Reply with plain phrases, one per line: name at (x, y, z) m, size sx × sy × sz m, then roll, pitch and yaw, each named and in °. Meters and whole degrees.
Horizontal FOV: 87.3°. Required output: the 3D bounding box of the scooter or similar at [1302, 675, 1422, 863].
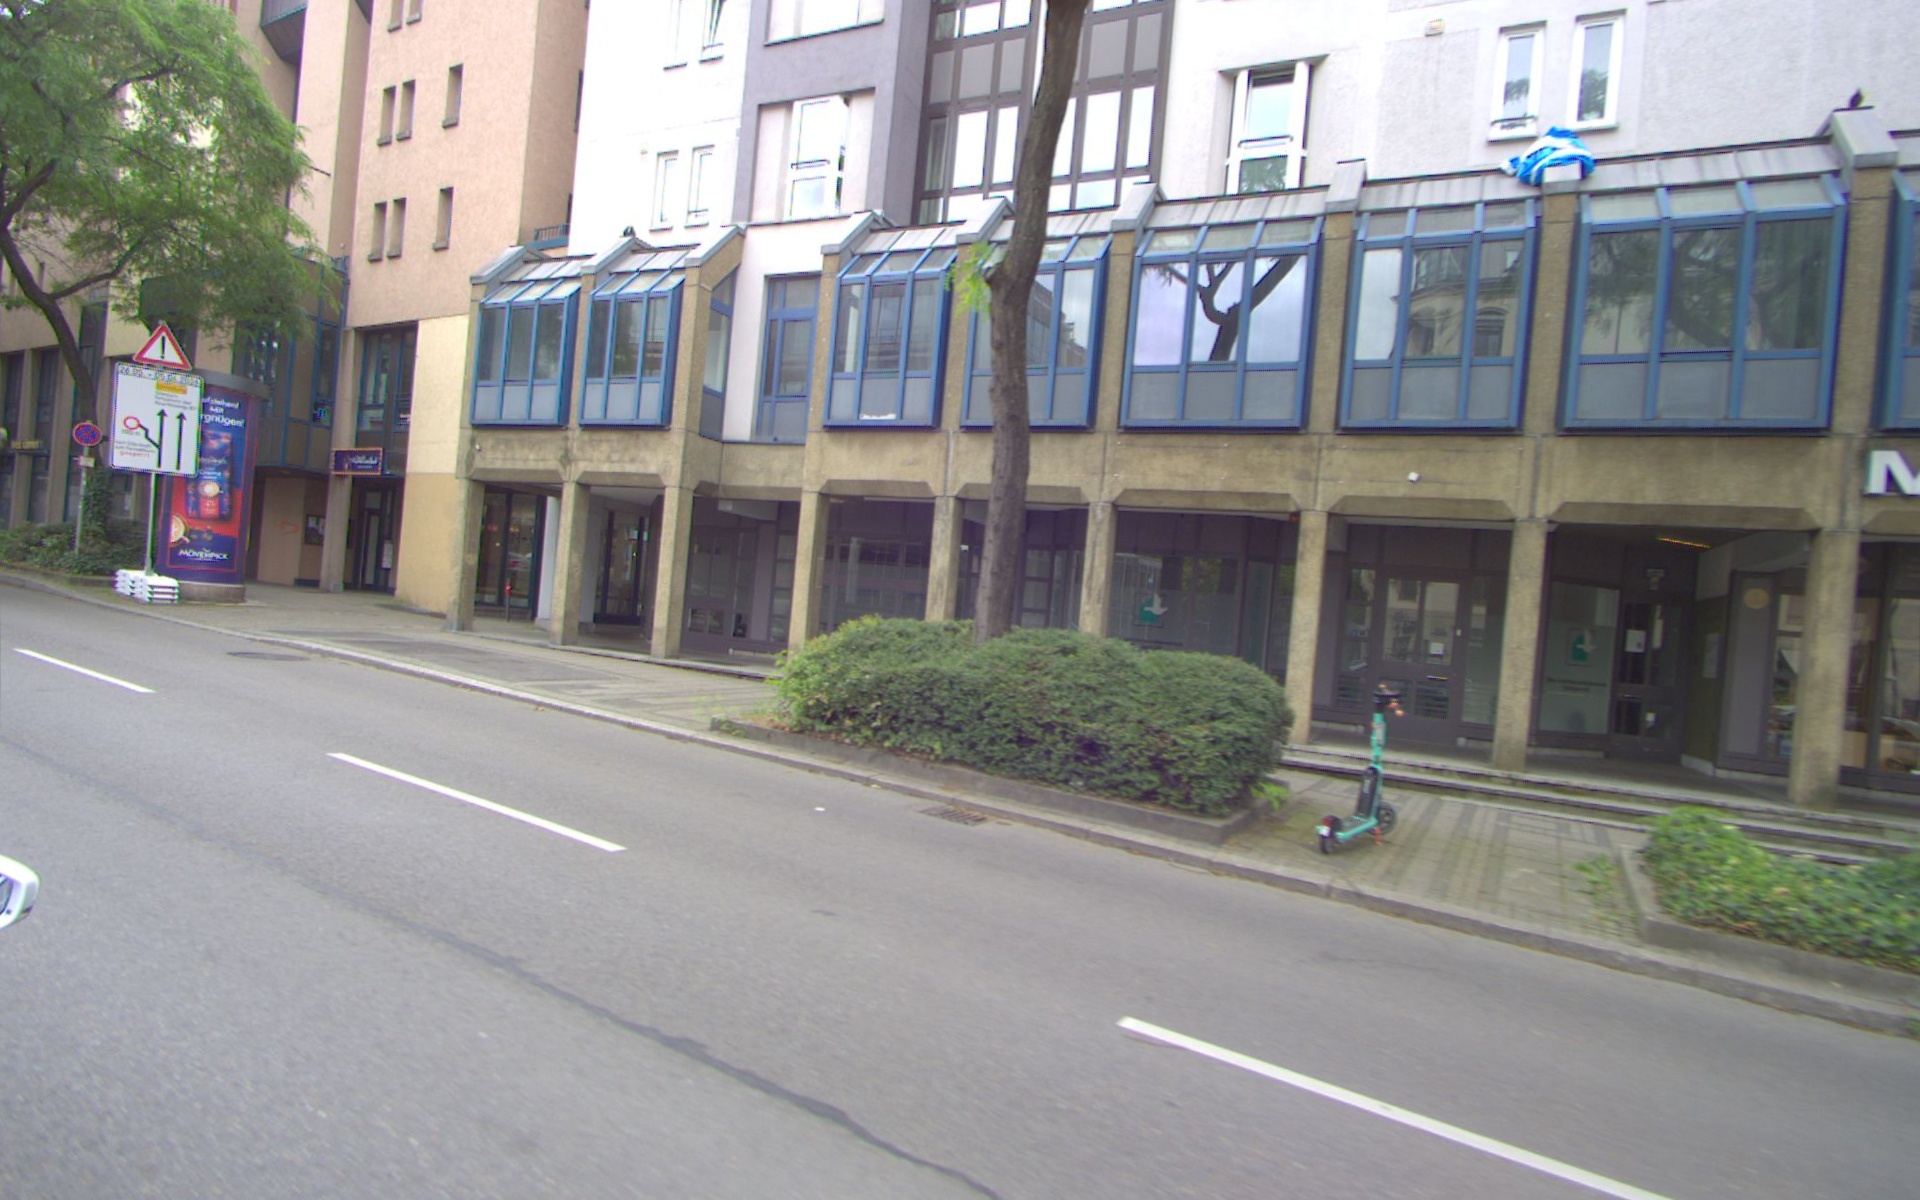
scooter or similar at (3.170, 1.272, 7.887) m, size 0.419 × 1.302 × 1.159 m, roll 7°, pitch 3°, yaw 39°
